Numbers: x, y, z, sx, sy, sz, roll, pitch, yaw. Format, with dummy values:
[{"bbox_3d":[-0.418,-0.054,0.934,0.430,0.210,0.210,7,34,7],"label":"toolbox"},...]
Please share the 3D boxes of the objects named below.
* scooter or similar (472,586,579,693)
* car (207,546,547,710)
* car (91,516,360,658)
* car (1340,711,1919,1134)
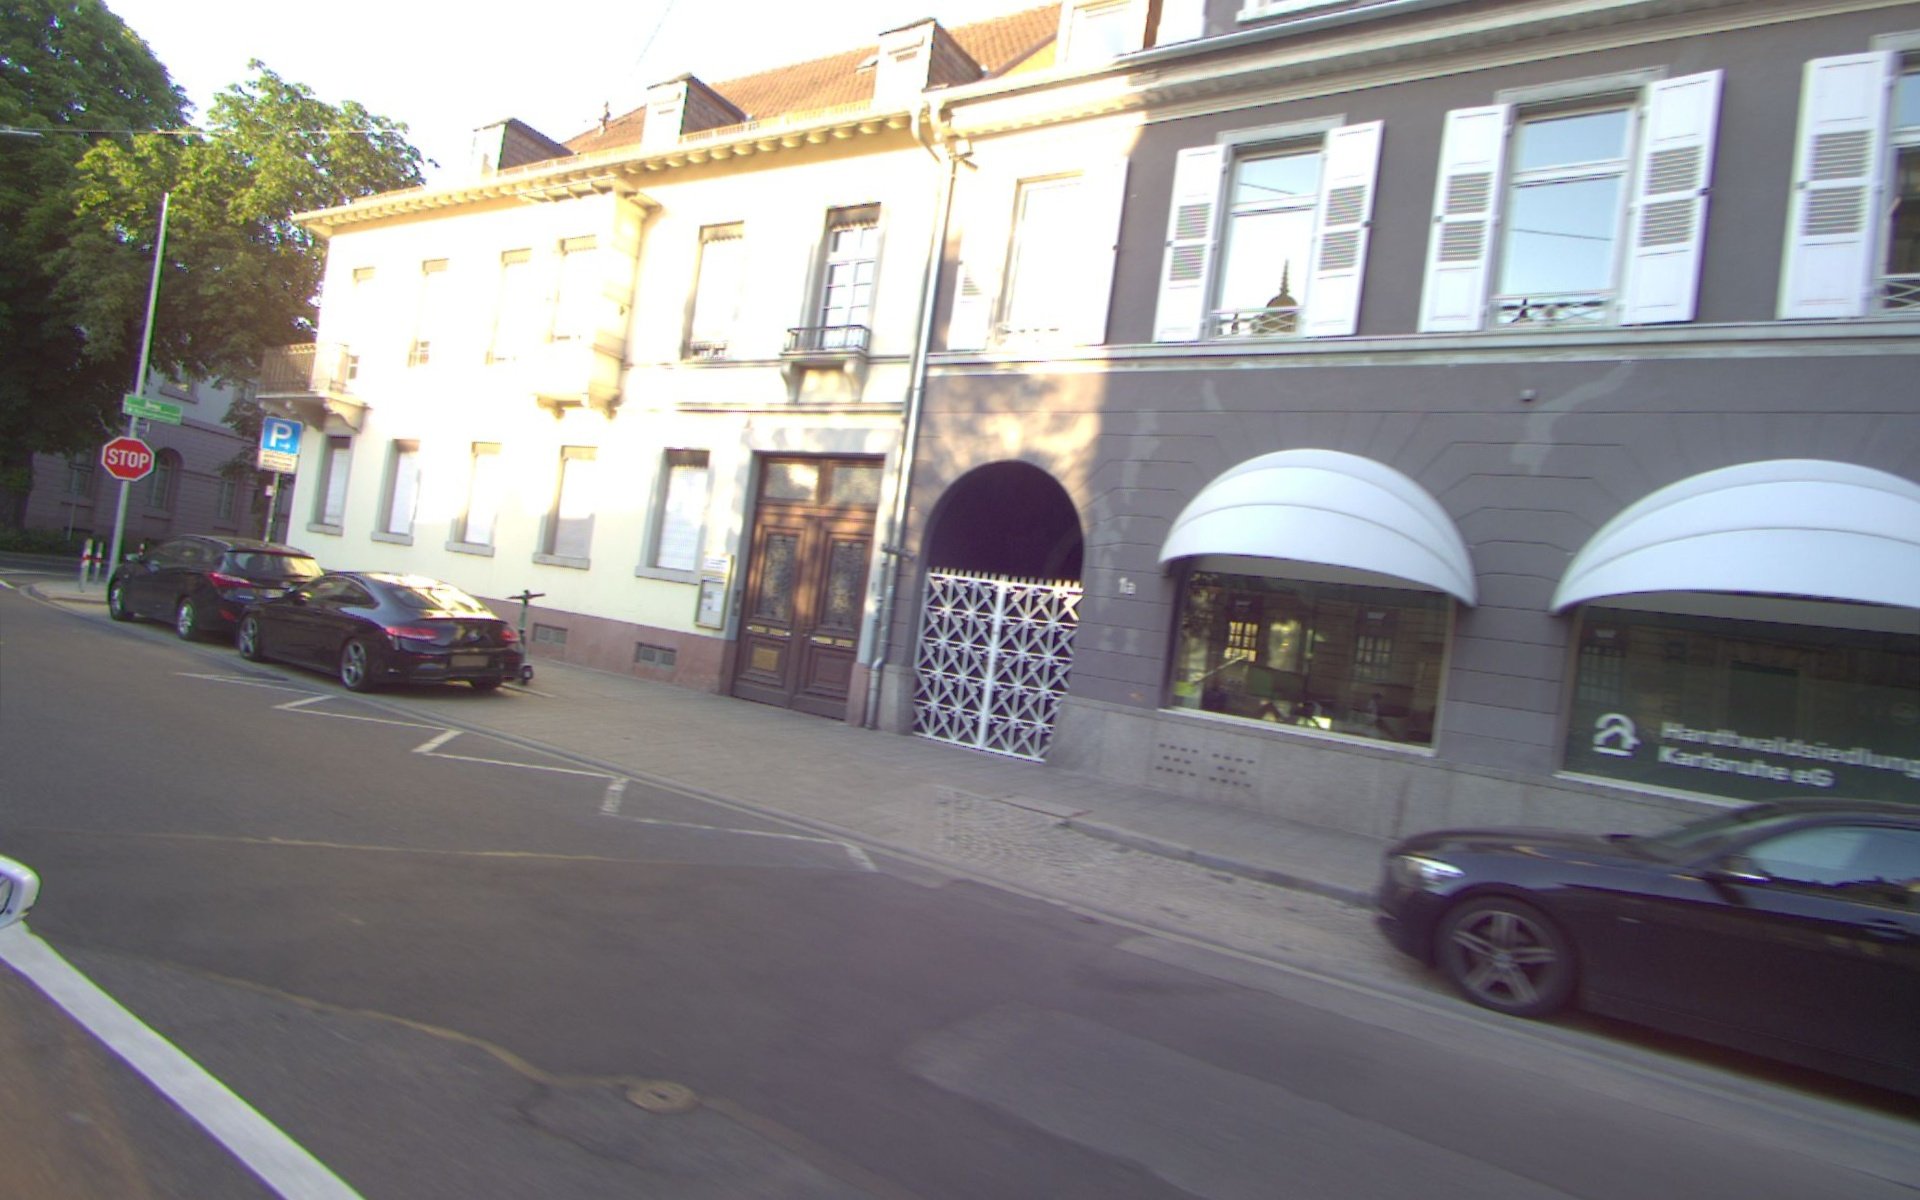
[{"bbox_3d":[-5.979,0.523,13.789,1.746,1.248,0.601,7,1,43],"label":"scooter or similar"},{"bbox_3d":[-7.641,0.309,13.011,4.780,1.410,1.777,7,-3,34],"label":"car"},{"bbox_3d":[-11.482,-0.233,15.647,4.359,1.558,1.806,7,-3,33],"label":"car"},{"bbox_3d":[4.451,1.667,5.311,4.180,1.463,1.746,7,-2,33],"label":"car"}]
